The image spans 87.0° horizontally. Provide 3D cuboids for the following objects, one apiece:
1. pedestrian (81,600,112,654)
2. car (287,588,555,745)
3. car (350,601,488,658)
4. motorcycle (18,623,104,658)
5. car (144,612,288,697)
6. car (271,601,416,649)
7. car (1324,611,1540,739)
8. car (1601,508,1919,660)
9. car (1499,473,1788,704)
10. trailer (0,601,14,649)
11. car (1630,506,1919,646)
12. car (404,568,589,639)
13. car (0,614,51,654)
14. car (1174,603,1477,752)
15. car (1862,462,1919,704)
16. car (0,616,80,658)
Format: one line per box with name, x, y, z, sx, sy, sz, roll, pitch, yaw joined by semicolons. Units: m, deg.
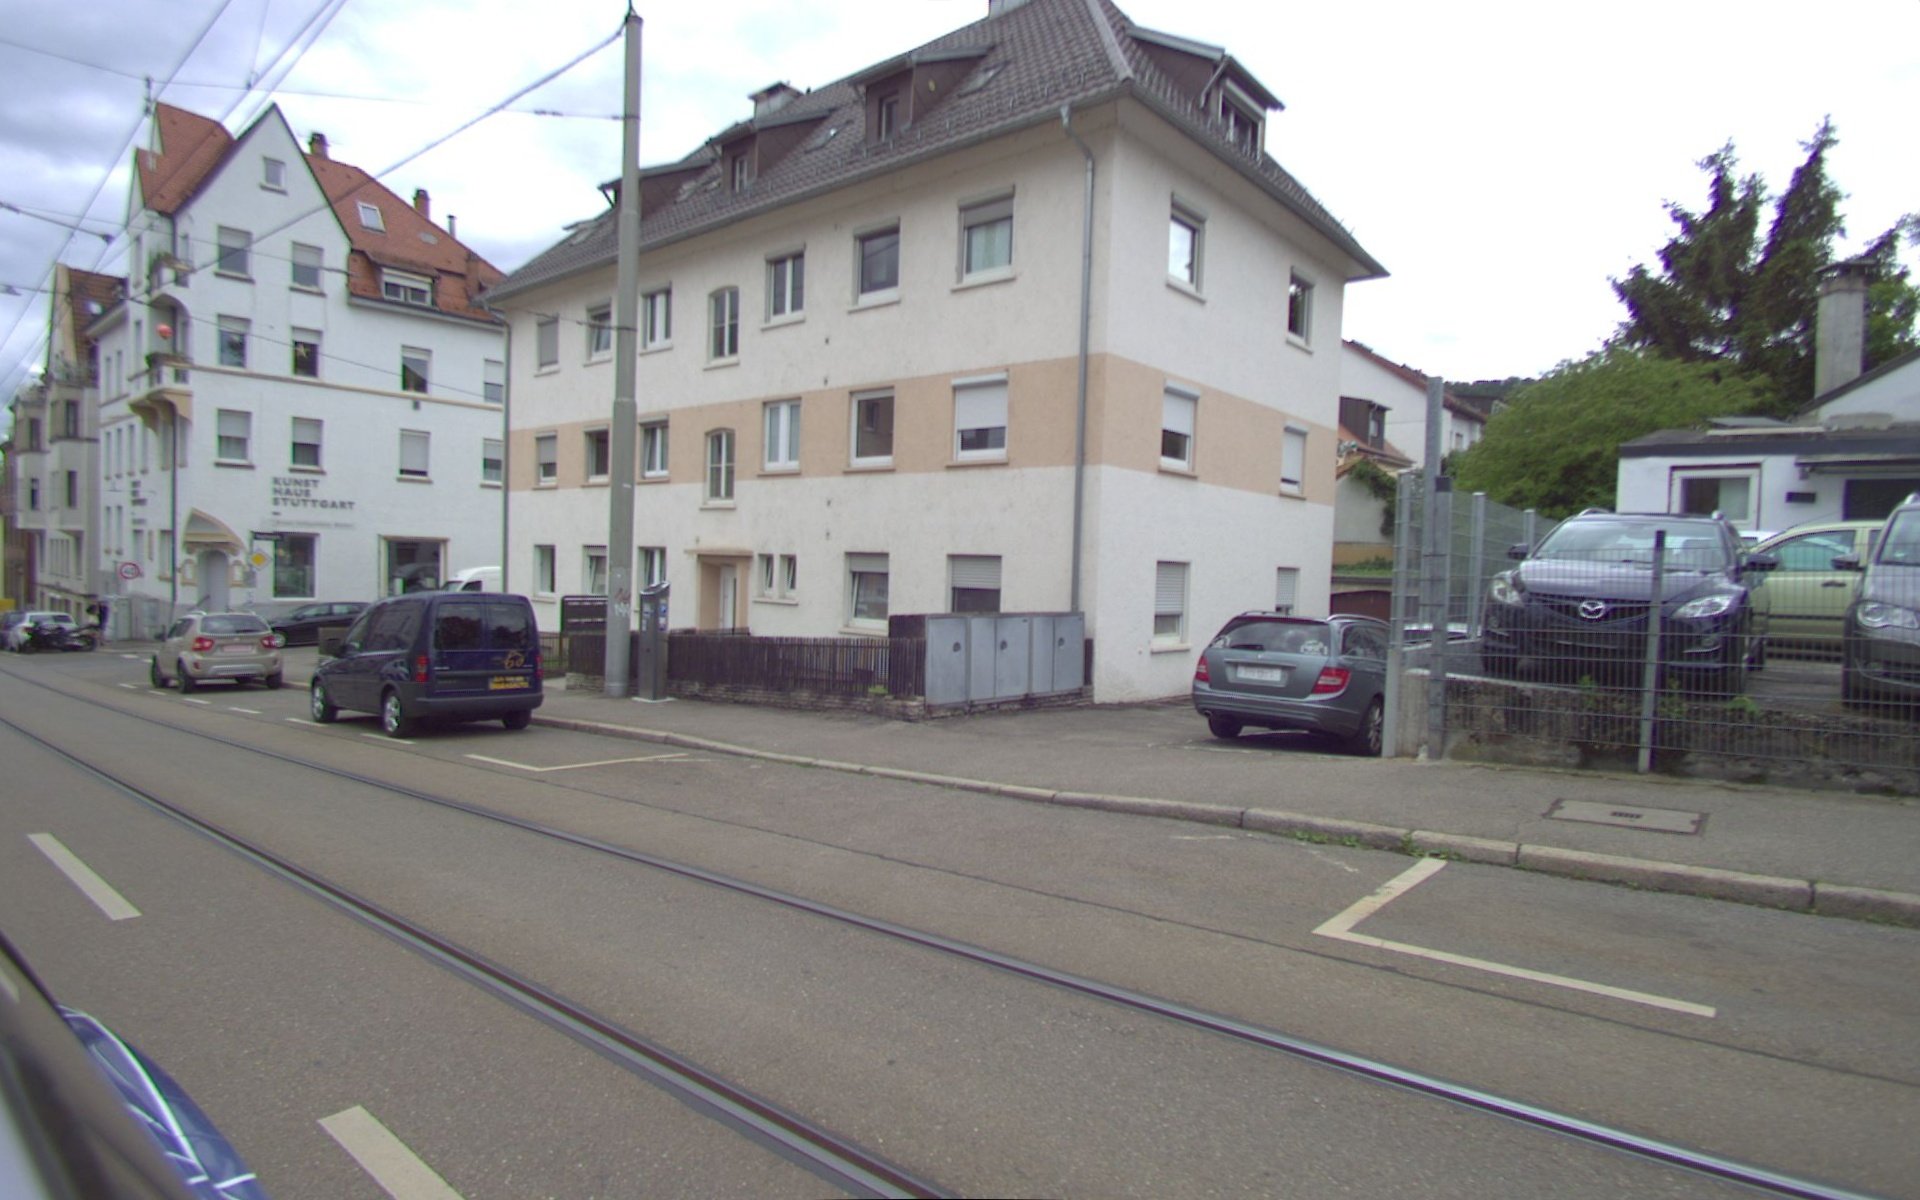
pedestrian;-32.093;0.988;37.618;0.810;1.919;0.583;-1;5;40
car;-7.282;0.796;13.454;4.518;1.749;1.725;-1;-2;43
car;-17.116;0.886;32.084;1.777;1.503;3.478;6;5;41
motorcycle;-30.247;1.361;34.099;2.080;1.143;0.768;1;-2;-35
car;-15.425;1.062;20.909;3.849;1.568;1.678;-1;0;43
car;-21.257;0.832;34.969;1.754;1.475;3.944;-1;1;42
car;7.275;1.118;15.355;1.860;1.596;4.294;2;-2;40
car;9.503;-0.157;11.151;3.888;1.505;1.665;-1;0;42
car;6.190;-0.137;8.953;1.687;1.564;4.019;-1;1;40
trailer;-45.287;1.155;46.877;4.069;2.172;1.730;-2;-3;42
car;11.001;-0.273;12.895;3.888;1.625;1.665;-1;0;42
car;-17.743;0.068;39.056;2.191;2.551;6.126;-1;1;42
car;-36.611;1.303;39.236;3.022;1.480;1.679;-1;-3;42
car;4.294;0.863;11.451;1.860;1.356;4.294;-1;-5;40
car;7.914;-0.142;7.458;1.738;1.535;4.019;-1;0;40
car;-32.666;1.277;35.873;4.291;1.367;1.760;-1;-1;42
